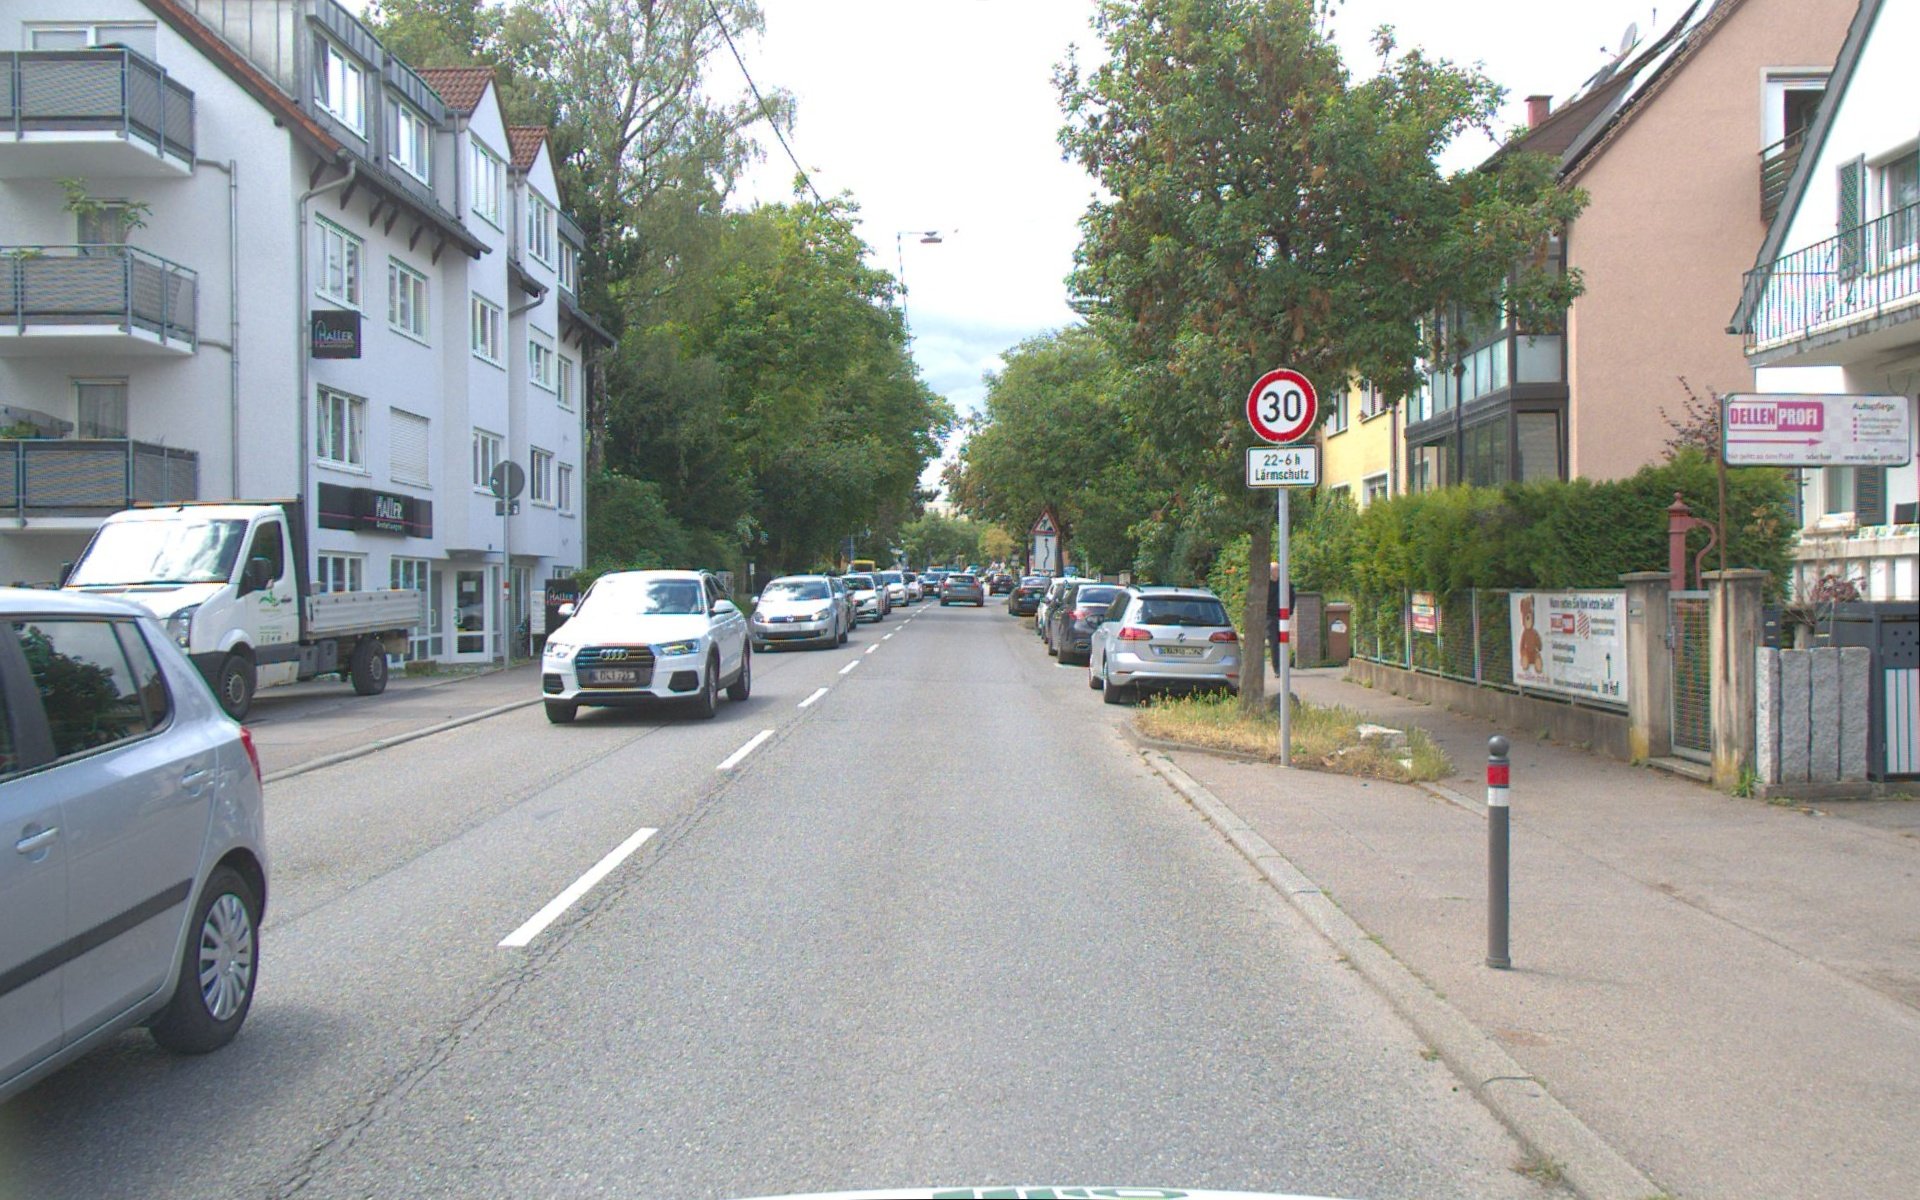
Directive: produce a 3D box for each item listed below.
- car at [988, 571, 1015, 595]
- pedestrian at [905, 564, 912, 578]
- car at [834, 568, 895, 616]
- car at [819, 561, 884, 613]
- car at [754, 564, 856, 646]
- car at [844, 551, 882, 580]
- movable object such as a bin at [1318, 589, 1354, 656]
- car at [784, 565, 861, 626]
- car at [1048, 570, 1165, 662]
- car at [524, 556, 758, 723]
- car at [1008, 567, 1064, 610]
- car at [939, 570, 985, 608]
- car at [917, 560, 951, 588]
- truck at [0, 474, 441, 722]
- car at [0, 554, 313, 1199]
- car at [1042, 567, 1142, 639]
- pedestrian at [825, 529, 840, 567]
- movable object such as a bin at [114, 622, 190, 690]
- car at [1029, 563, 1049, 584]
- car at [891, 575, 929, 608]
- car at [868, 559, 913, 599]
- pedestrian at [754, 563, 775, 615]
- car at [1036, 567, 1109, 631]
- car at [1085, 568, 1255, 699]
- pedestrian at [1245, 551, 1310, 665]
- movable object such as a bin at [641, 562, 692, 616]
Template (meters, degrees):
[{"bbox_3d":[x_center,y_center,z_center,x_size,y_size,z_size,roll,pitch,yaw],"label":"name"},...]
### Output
[{"bbox_3d":[2.765,-1.126,109.400,1.778,1.527,4.268,1,1,2],"label":"car"},{"bbox_3d":[-5.318,-3.012,170.122,0.690,1.464,0.714,0,0,4],"label":"pedestrian"},{"bbox_3d":[-3.480,-0.324,60.825,1.888,1.573,4.087,-3,1,0],"label":"car"},{"bbox_3d":[-3.338,-0.436,51.547,1.724,1.464,3.971,-2,2,0],"label":"car"},{"bbox_3d":[-3.175,0.044,34.558,1.693,1.528,4.376,-2,1,-1],"label":"car"},{"bbox_3d":[-6.743,-2.384,115.605,2.101,2.015,4.933,0,0,3],"label":"car"},{"bbox_3d":[6.236,0.370,27.479,0.512,1.099,0.605,0,0,6],"label":"movable object such as a bin"},{"bbox_3d":[-3.683,-0.152,44.852,1.674,1.481,4.287,-3,1,0],"label":"car"},{"bbox_3d":[2.640,0.234,30.680,1.699,1.453,4.883,3,1,0],"label":"car"},{"bbox_3d":[-3.447,0.360,18.648,1.769,1.598,4.159,-2,1,0],"label":"car"},{"bbox_3d":[2.762,-0.454,60.938,1.765,1.470,4.887,2,1,-1],"label":"car"},{"bbox_3d":[0.126,-0.528,74.519,1.935,1.539,4.268,3,1,1],"label":"car"},{"bbox_3d":[-1.507,-1.558,96.943,1.752,1.568,4.265,-2,1,2],"label":"car"},{"bbox_3d":[-8.320,-0.047,19.410,2.178,2.421,6.328,0,0,3],"label":"truck"},{"bbox_3d":[-2.993,0.651,3.850,1.585,1.512,3.812,0,1,-2],"label":"car"},{"bbox_3d":[2.860,0.016,36.586,1.952,1.448,4.590,0,1,1],"label":"car"},{"bbox_3d":[-6.099,-2.464,79.040,0.700,1.792,1.121,0,0,-5],"label":"pedestrian"},{"bbox_3d":[-11.995,0.826,24.574,0.781,0.979,0.661,0,0,4],"label":"movable object such as a bin"},{"bbox_3d":[7.654,-2.577,160.732,1.952,2.049,4.001,0,0,2],"label":"car"},{"bbox_3d":[-2.615,-0.454,87.418,1.748,1.619,4.154,-2,1,1],"label":"car"},{"bbox_3d":[-3.105,-0.988,74.971,1.749,1.676,4.491,-2,1,1],"label":"car"},{"bbox_3d":[-6.426,-0.374,54.343,0.640,1.696,0.931,0,0,-5],"label":"pedestrian"},{"bbox_3d":[2.822,-0.069,41.986,1.588,1.534,3.779,0,1,0],"label":"car"},{"bbox_3d":[2.693,0.354,22.236,1.666,1.506,4.873,1,1,0],"label":"car"},{"bbox_3d":[4.912,0.122,25.620,0.862,1.742,0.843,0,0,1],"label":"pedestrian"},{"bbox_3d":[-8.070,-0.300,45.565,1.304,1.452,1.213,0,0,-6],"label":"movable object such as a bin"}]
